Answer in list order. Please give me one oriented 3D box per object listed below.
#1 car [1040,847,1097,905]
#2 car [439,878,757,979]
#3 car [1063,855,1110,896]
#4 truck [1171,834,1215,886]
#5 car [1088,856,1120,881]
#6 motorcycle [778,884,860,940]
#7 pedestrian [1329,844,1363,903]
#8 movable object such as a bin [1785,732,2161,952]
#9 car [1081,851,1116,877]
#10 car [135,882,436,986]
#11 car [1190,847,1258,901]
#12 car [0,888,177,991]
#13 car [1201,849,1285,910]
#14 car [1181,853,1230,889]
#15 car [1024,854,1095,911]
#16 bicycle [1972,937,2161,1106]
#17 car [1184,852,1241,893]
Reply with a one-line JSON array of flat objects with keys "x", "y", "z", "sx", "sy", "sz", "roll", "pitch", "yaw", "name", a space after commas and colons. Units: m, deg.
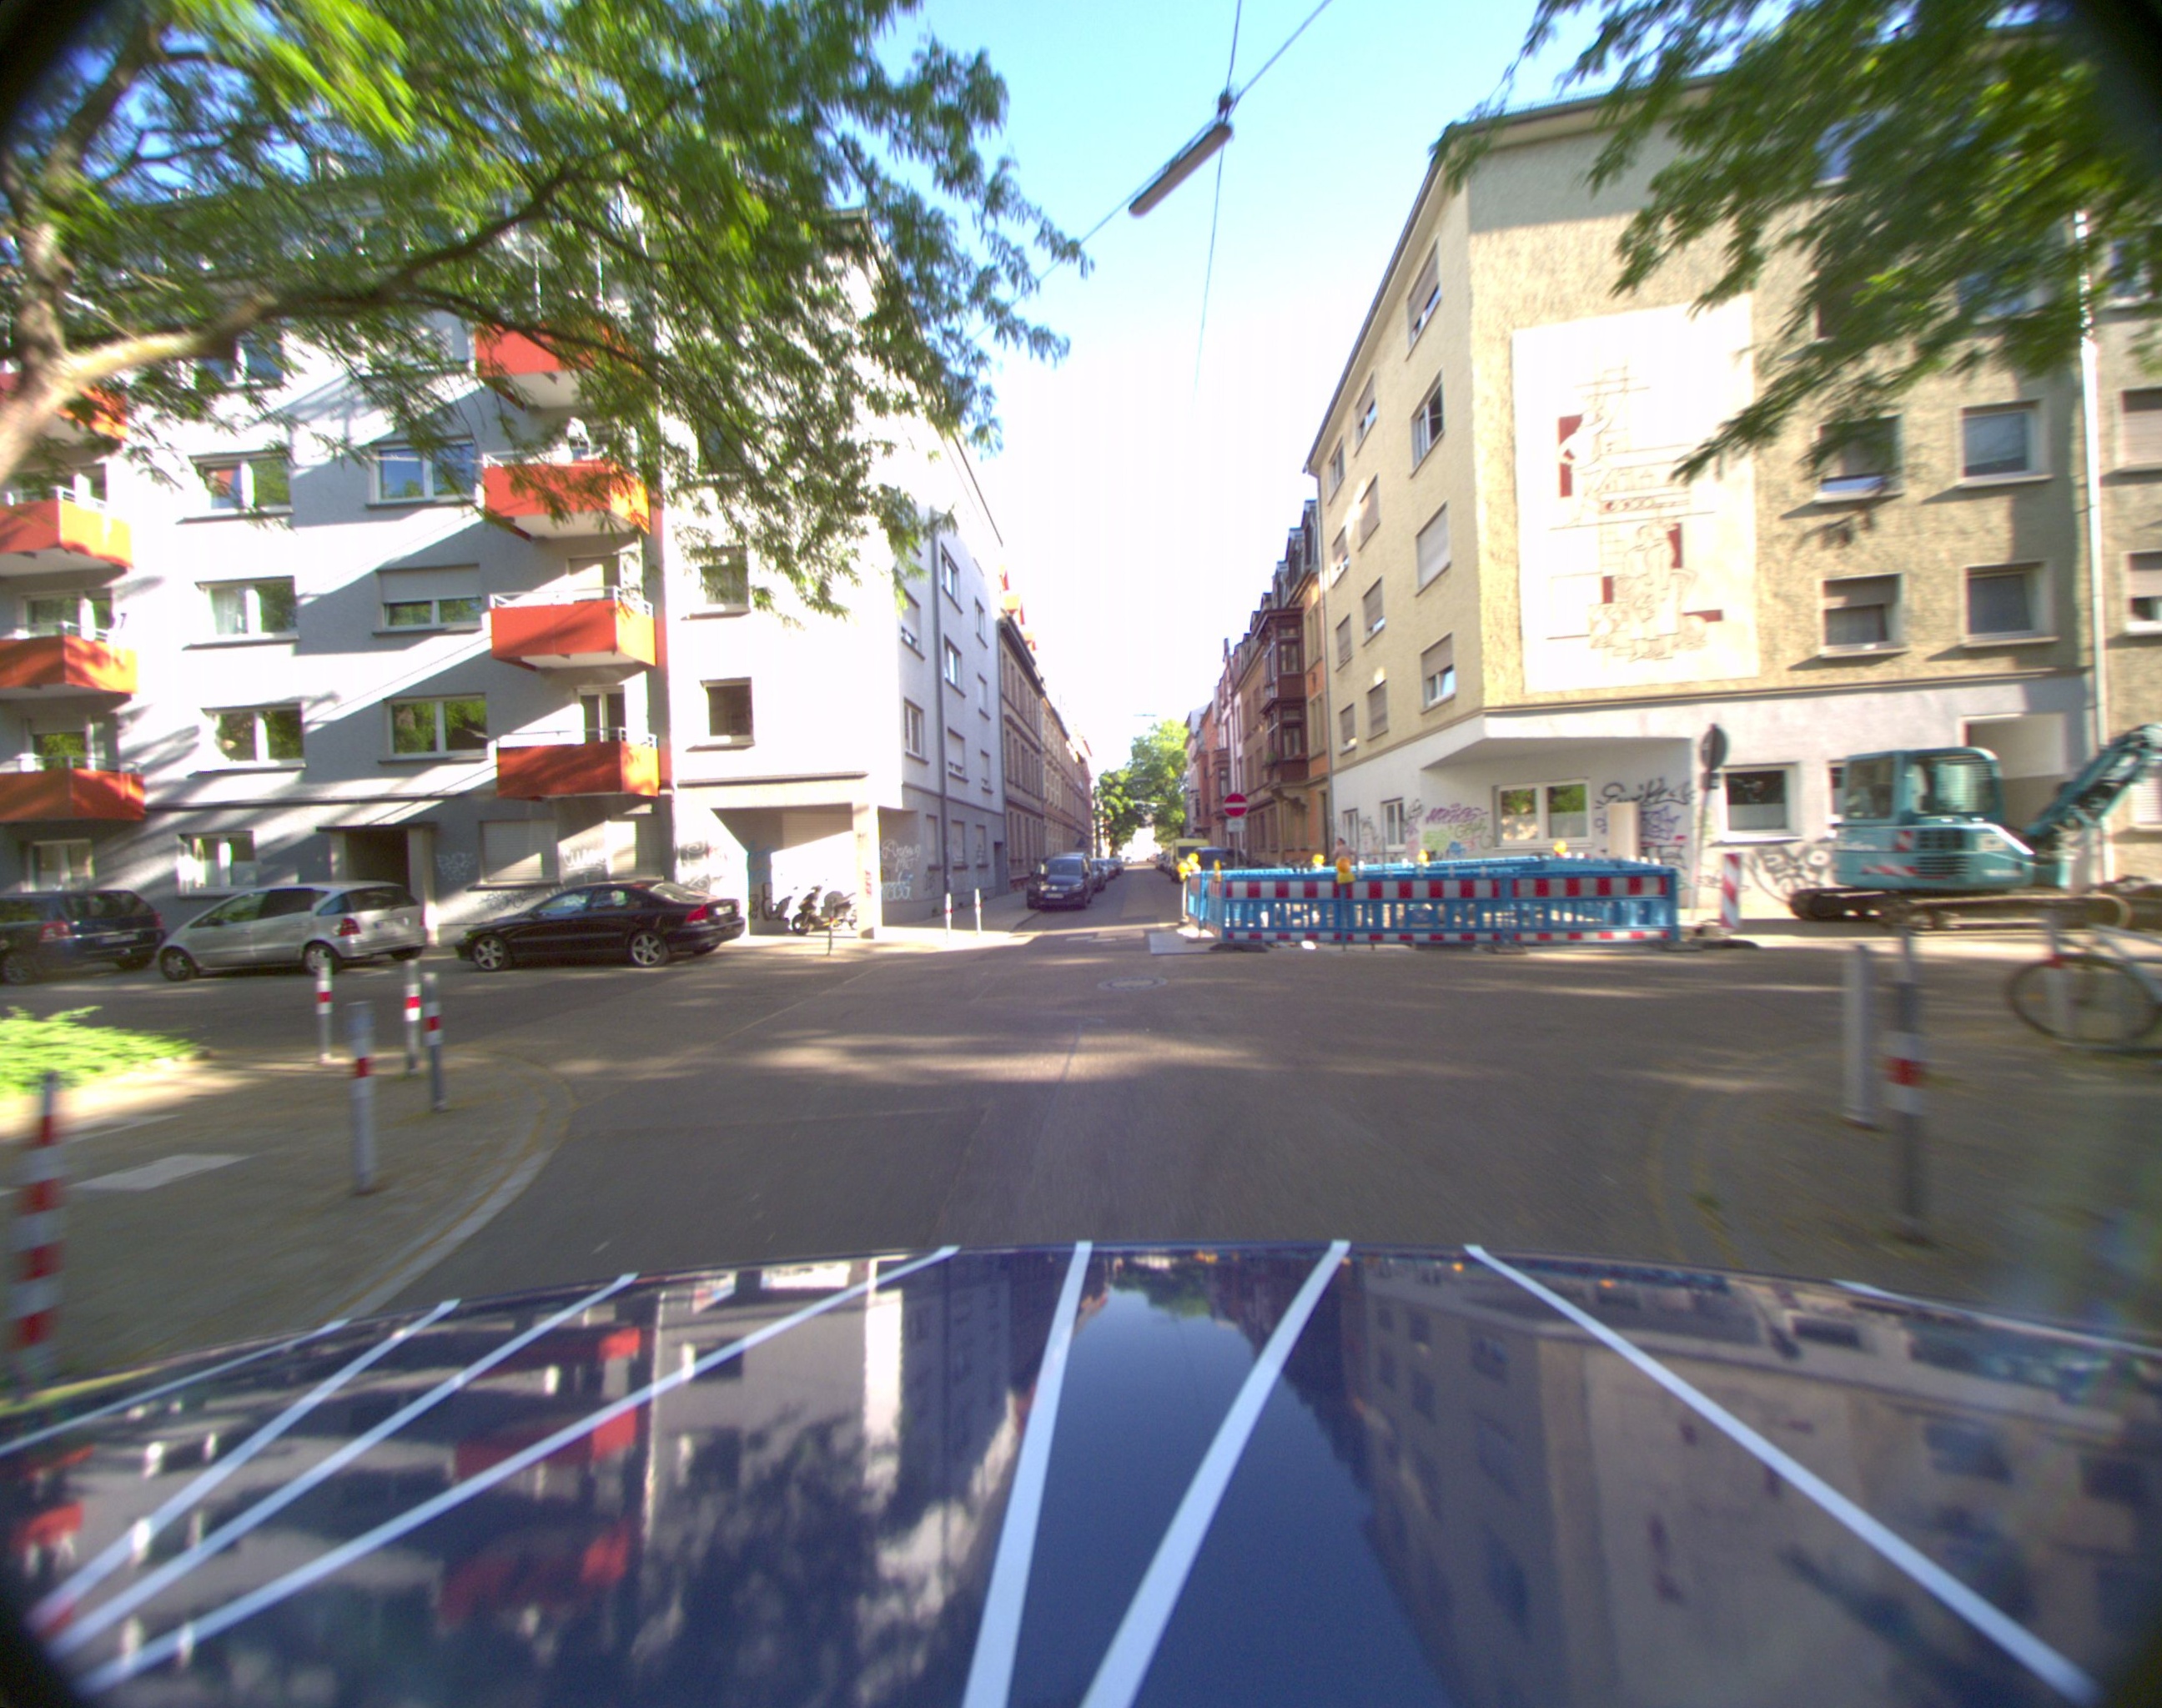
[{"x": -0.458, "y": 0.801, "z": 29.924, "sx": 1.998, "sy": 2.052, "sz": 3.999, "roll": -2, "pitch": 0, "yaw": 0, "name": "car"}, {"x": -8.255, "y": 1.253, "z": 13.247, "sx": 4.411, "sy": 1.423, "sz": 1.782, "roll": -2, "pitch": 1, "yaw": 3, "name": "car"}, {"x": 0.246, "y": 0.937, "z": 34.925, "sx": 1.998, "sy": 1.659, "sz": 3.999, "roll": -2, "pitch": 0, "yaw": 0, "name": "car"}, {"x": 6.160, "y": 0.292, "z": 42.307, "sx": 1.971, "sy": 2.643, "sz": 5.886, "roll": -1, "pitch": 0, "yaw": 4, "name": "truck"}, {"x": 1.711, "y": 1.001, "z": 55.535, "sx": 1.998, "sy": 1.659, "sz": 4.001, "roll": -2, "pitch": 0, "yaw": 6, "name": "car"}, {"x": -5.739, "y": 1.255, "z": 16.705, "sx": 1.472, "sy": 1.111, "sz": 0.908, "roll": -2, "pitch": 1, "yaw": -3, "name": "motorcycle"}, {"x": 7.282, "y": 0.535, "z": 20.900, "sx": 0.670, "sy": 1.585, "sz": 0.597, "roll": -2, "pitch": 1, "yaw": 1, "name": "pedestrian"}, {"x": 13.519, "y": -0.210, "z": 10.642, "sx": 5.148, "sy": 2.733, "sz": 2.000, "roll": -2, "pitch": 3, "yaw": 8, "name": "movable object such as a bin"}, {"x": 1.228, "y": 0.650, "z": 51.236, "sx": 1.998, "sy": 1.659, "sz": 4.001, "roll": -2, "pitch": 0, "yaw": 6, "name": "car"}, {"x": -14.225, "y": 1.404, "z": 13.737, "sx": 3.694, "sy": 1.550, "sz": 1.649, "roll": -2, "pitch": 3, "yaw": 3, "name": "car"}, {"x": 5.293, "y": 0.701, "z": 28.624, "sx": 1.804, "sy": 1.841, "sz": 4.000, "roll": -2, "pitch": 0, "yaw": 1, "name": "car"}, {"x": -19.707, "y": 1.563, "z": 14.048, "sx": 4.035, "sy": 1.608, "sz": 1.649, "roll": -2, "pitch": 3, "yaw": 3, "name": "car"}, {"x": 4.962, "y": 0.728, "z": 23.760, "sx": 1.776, "sy": 1.695, "sz": 4.000, "roll": -2, "pitch": 0, "yaw": 1, "name": "car"}, {"x": 5.991, "y": 0.775, "z": 36.970, "sx": 1.998, "sy": 1.583, "sz": 4.001, "roll": -2, "pitch": 0, "yaw": 4, "name": "car"}, {"x": -0.595, "y": 0.844, "z": 24.247, "sx": 1.844, "sy": 1.643, "sz": 4.001, "roll": -1, "pitch": 0, "yaw": 4, "name": "car"}, {"x": 6.768, "y": 1.058, "z": 4.702, "sx": 0.492, "sy": 0.920, "sz": 1.758, "roll": -2, "pitch": -2, "yaw": 5, "name": "bicycle"}, {"x": 5.598, "y": 0.739, "z": 32.830, "sx": 1.998, "sy": 1.583, "sz": 4.001, "roll": -2, "pitch": 0, "yaw": 4, "name": "car"}]
